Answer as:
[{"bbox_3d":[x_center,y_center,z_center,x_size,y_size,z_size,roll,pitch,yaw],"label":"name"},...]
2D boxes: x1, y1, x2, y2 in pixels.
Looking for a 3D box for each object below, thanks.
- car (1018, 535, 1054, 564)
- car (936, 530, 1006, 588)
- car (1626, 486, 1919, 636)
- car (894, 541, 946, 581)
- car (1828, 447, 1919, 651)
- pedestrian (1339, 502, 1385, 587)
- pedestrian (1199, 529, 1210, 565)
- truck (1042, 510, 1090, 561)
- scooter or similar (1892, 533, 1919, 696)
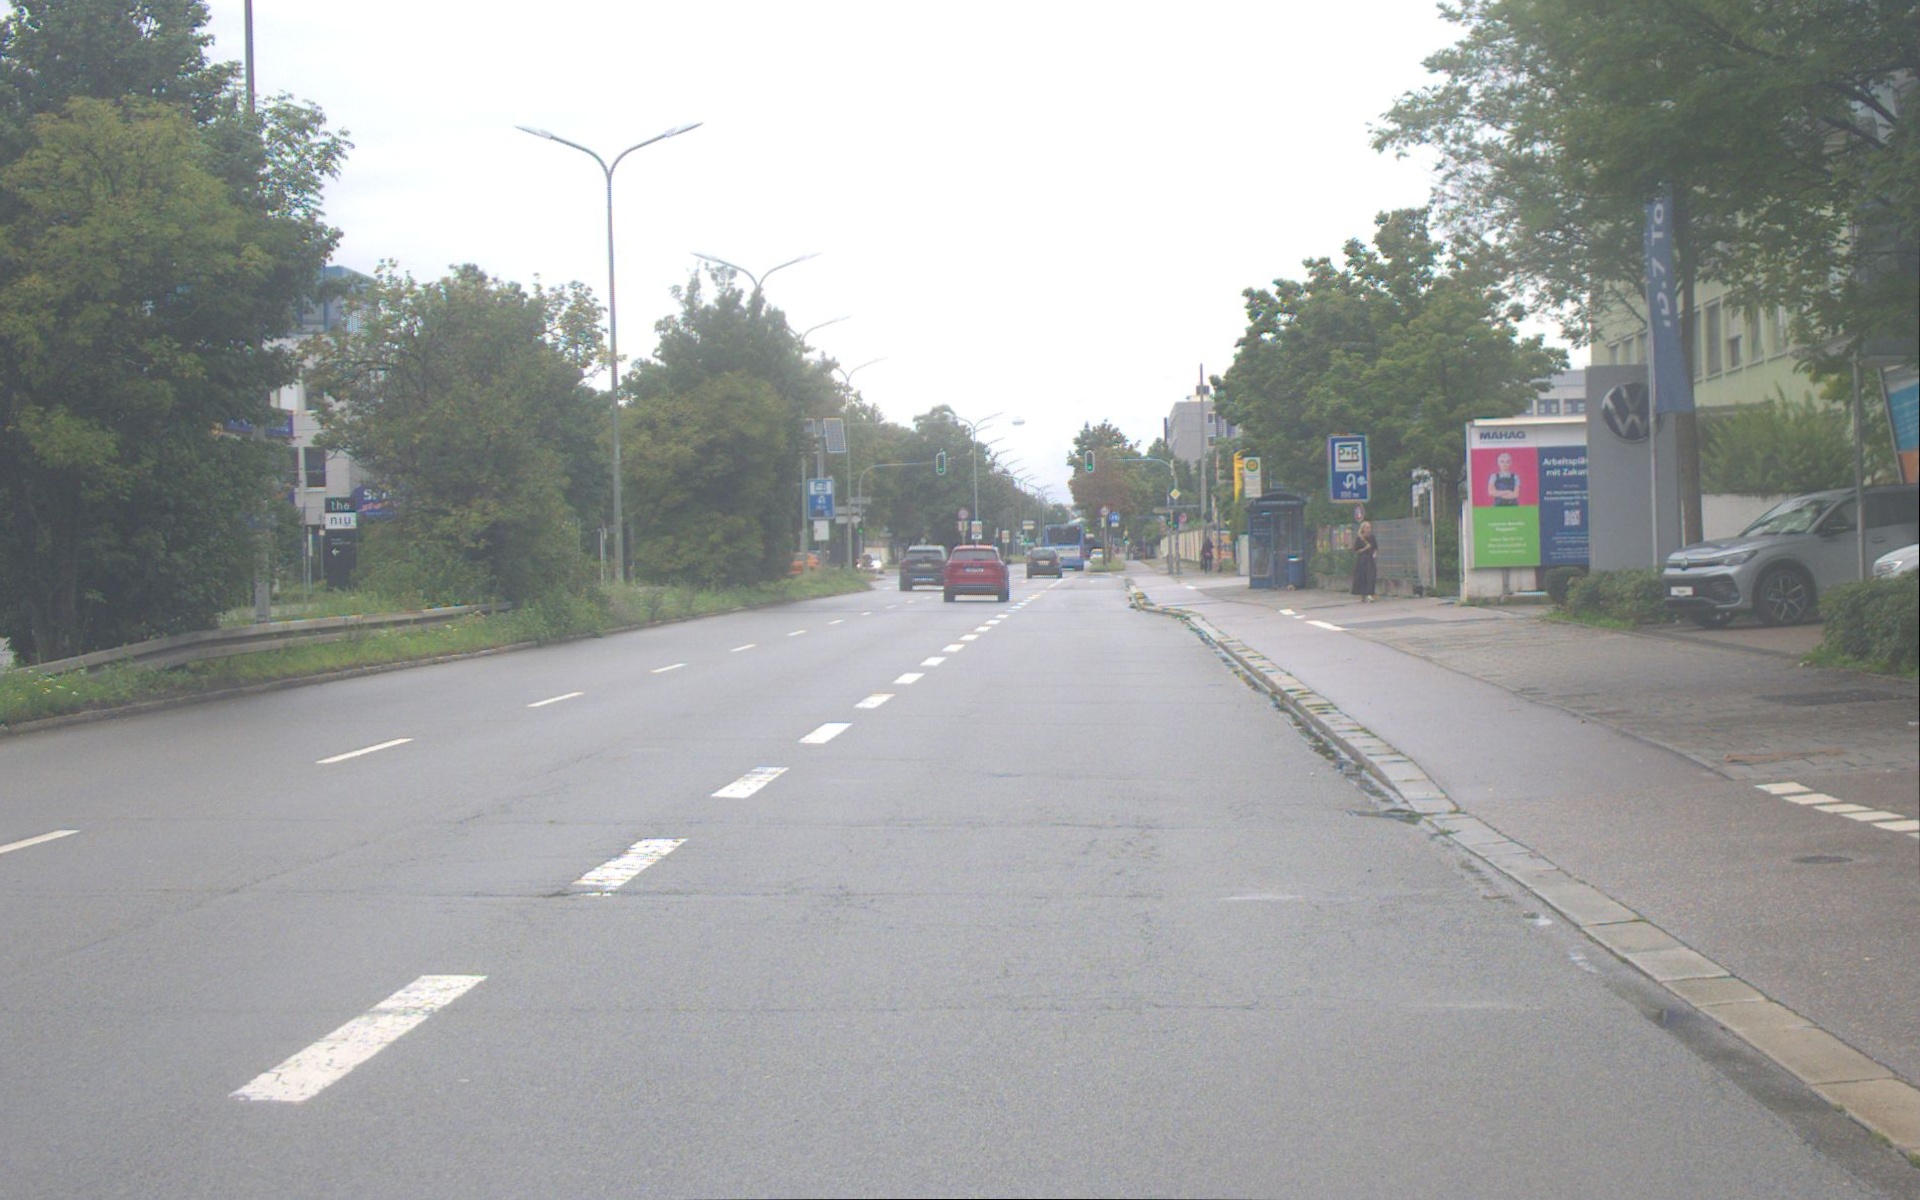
[{"bbox_3d":[3.890,-2.565,176.357,1.803,1.428,4.000,-1,0,1],"label":"car"},{"bbox_3d":[0.323,-1.150,98.466,1.862,1.612,4.000,0,0,2],"label":"car"},{"bbox_3d":[11.027,-0.524,43.640,4.587,1.701,2.008,-3,0,-18],"label":"car"},{"bbox_3d":[-1.453,-1.437,126.665,1.803,1.428,4.000,-1,1,1],"label":"car"},{"bbox_3d":[11.187,-0.606,34.782,4.253,2.007,1.960,-3,0,27],"label":"car"},{"bbox_3d":[8.424,-1.157,72.081,0.758,1.722,0.895,-4,1,1],"label":"pedestrian"},{"bbox_3d":[11.024,-2.387,155.129,0.483,1.630,0.590,-1,1,3],"label":"pedestrian"},{"bbox_3d":[6.995,-4.235,228.037,2.969,3.274,7.915,-1,1,1],"label":"truck"},{"bbox_3d":[7.376,0.107,25.415,0.496,1.200,1.430,-4,1,0],"label":"scooter or similar"}]
